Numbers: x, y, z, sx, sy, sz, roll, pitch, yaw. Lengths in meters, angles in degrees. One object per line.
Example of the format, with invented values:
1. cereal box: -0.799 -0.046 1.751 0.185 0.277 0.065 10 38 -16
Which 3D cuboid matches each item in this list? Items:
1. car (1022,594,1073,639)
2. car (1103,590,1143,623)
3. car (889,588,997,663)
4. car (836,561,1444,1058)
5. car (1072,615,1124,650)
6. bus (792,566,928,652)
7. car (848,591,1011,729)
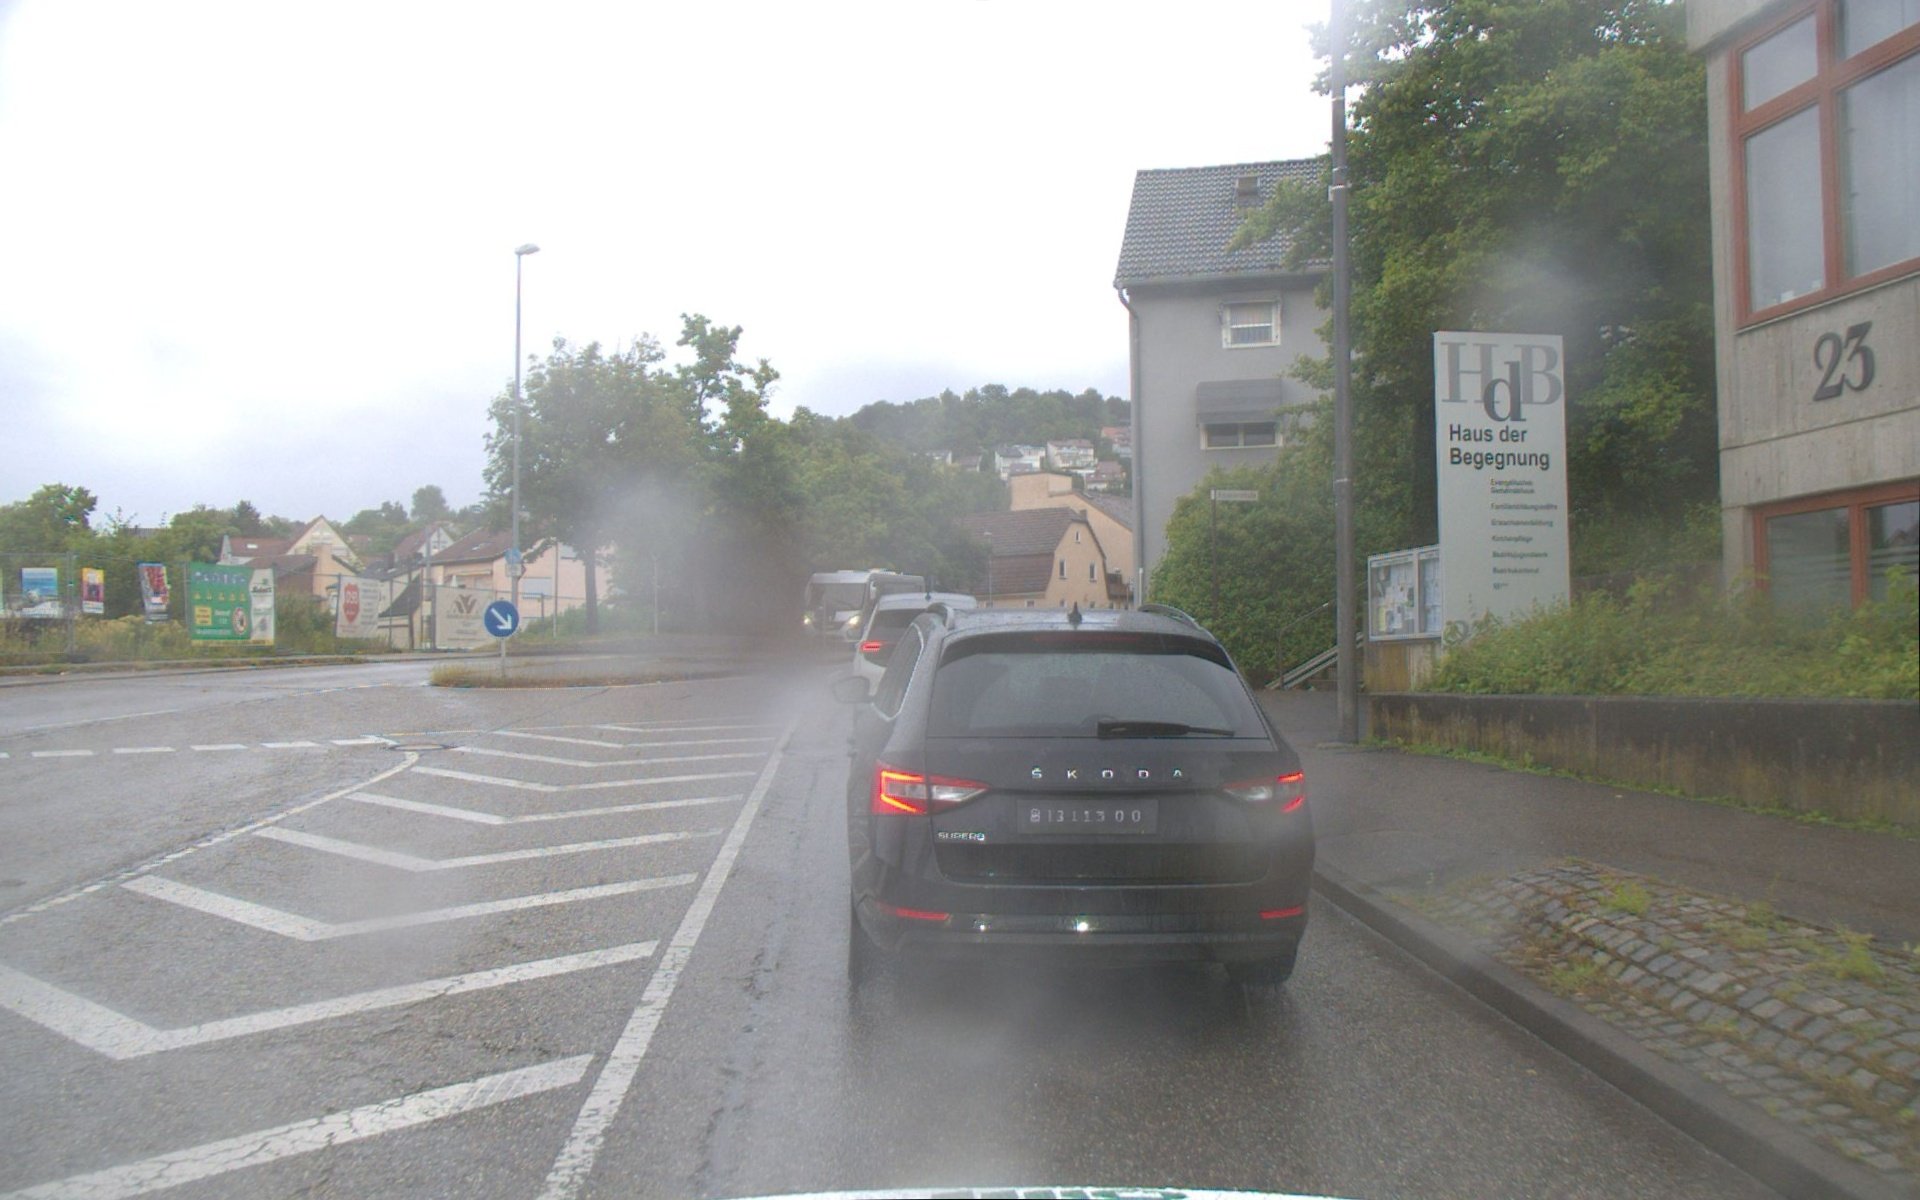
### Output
1. car: 3.161 0.564 59.124 1.534 1.557 4.003 0 0 7
2. car: 10.277 0.430 104.440 1.953 2.049 3.998 1 -1 -2
3. car: -0.277 0.518 33.679 1.809 1.434 4.304 0 -1 5
4. car: 0.470 0.706 7.584 1.915 1.534 4.605 2 -1 -3
5. car: 6.324 1.470 75.658 1.951 1.478 3.774 -3 -1 10
6. bus: -3.286 0.258 56.420 2.346 2.723 7.052 -1 0 16
7. car: -0.308 0.695 20.329 1.791 1.526 4.168 0 -1 1
